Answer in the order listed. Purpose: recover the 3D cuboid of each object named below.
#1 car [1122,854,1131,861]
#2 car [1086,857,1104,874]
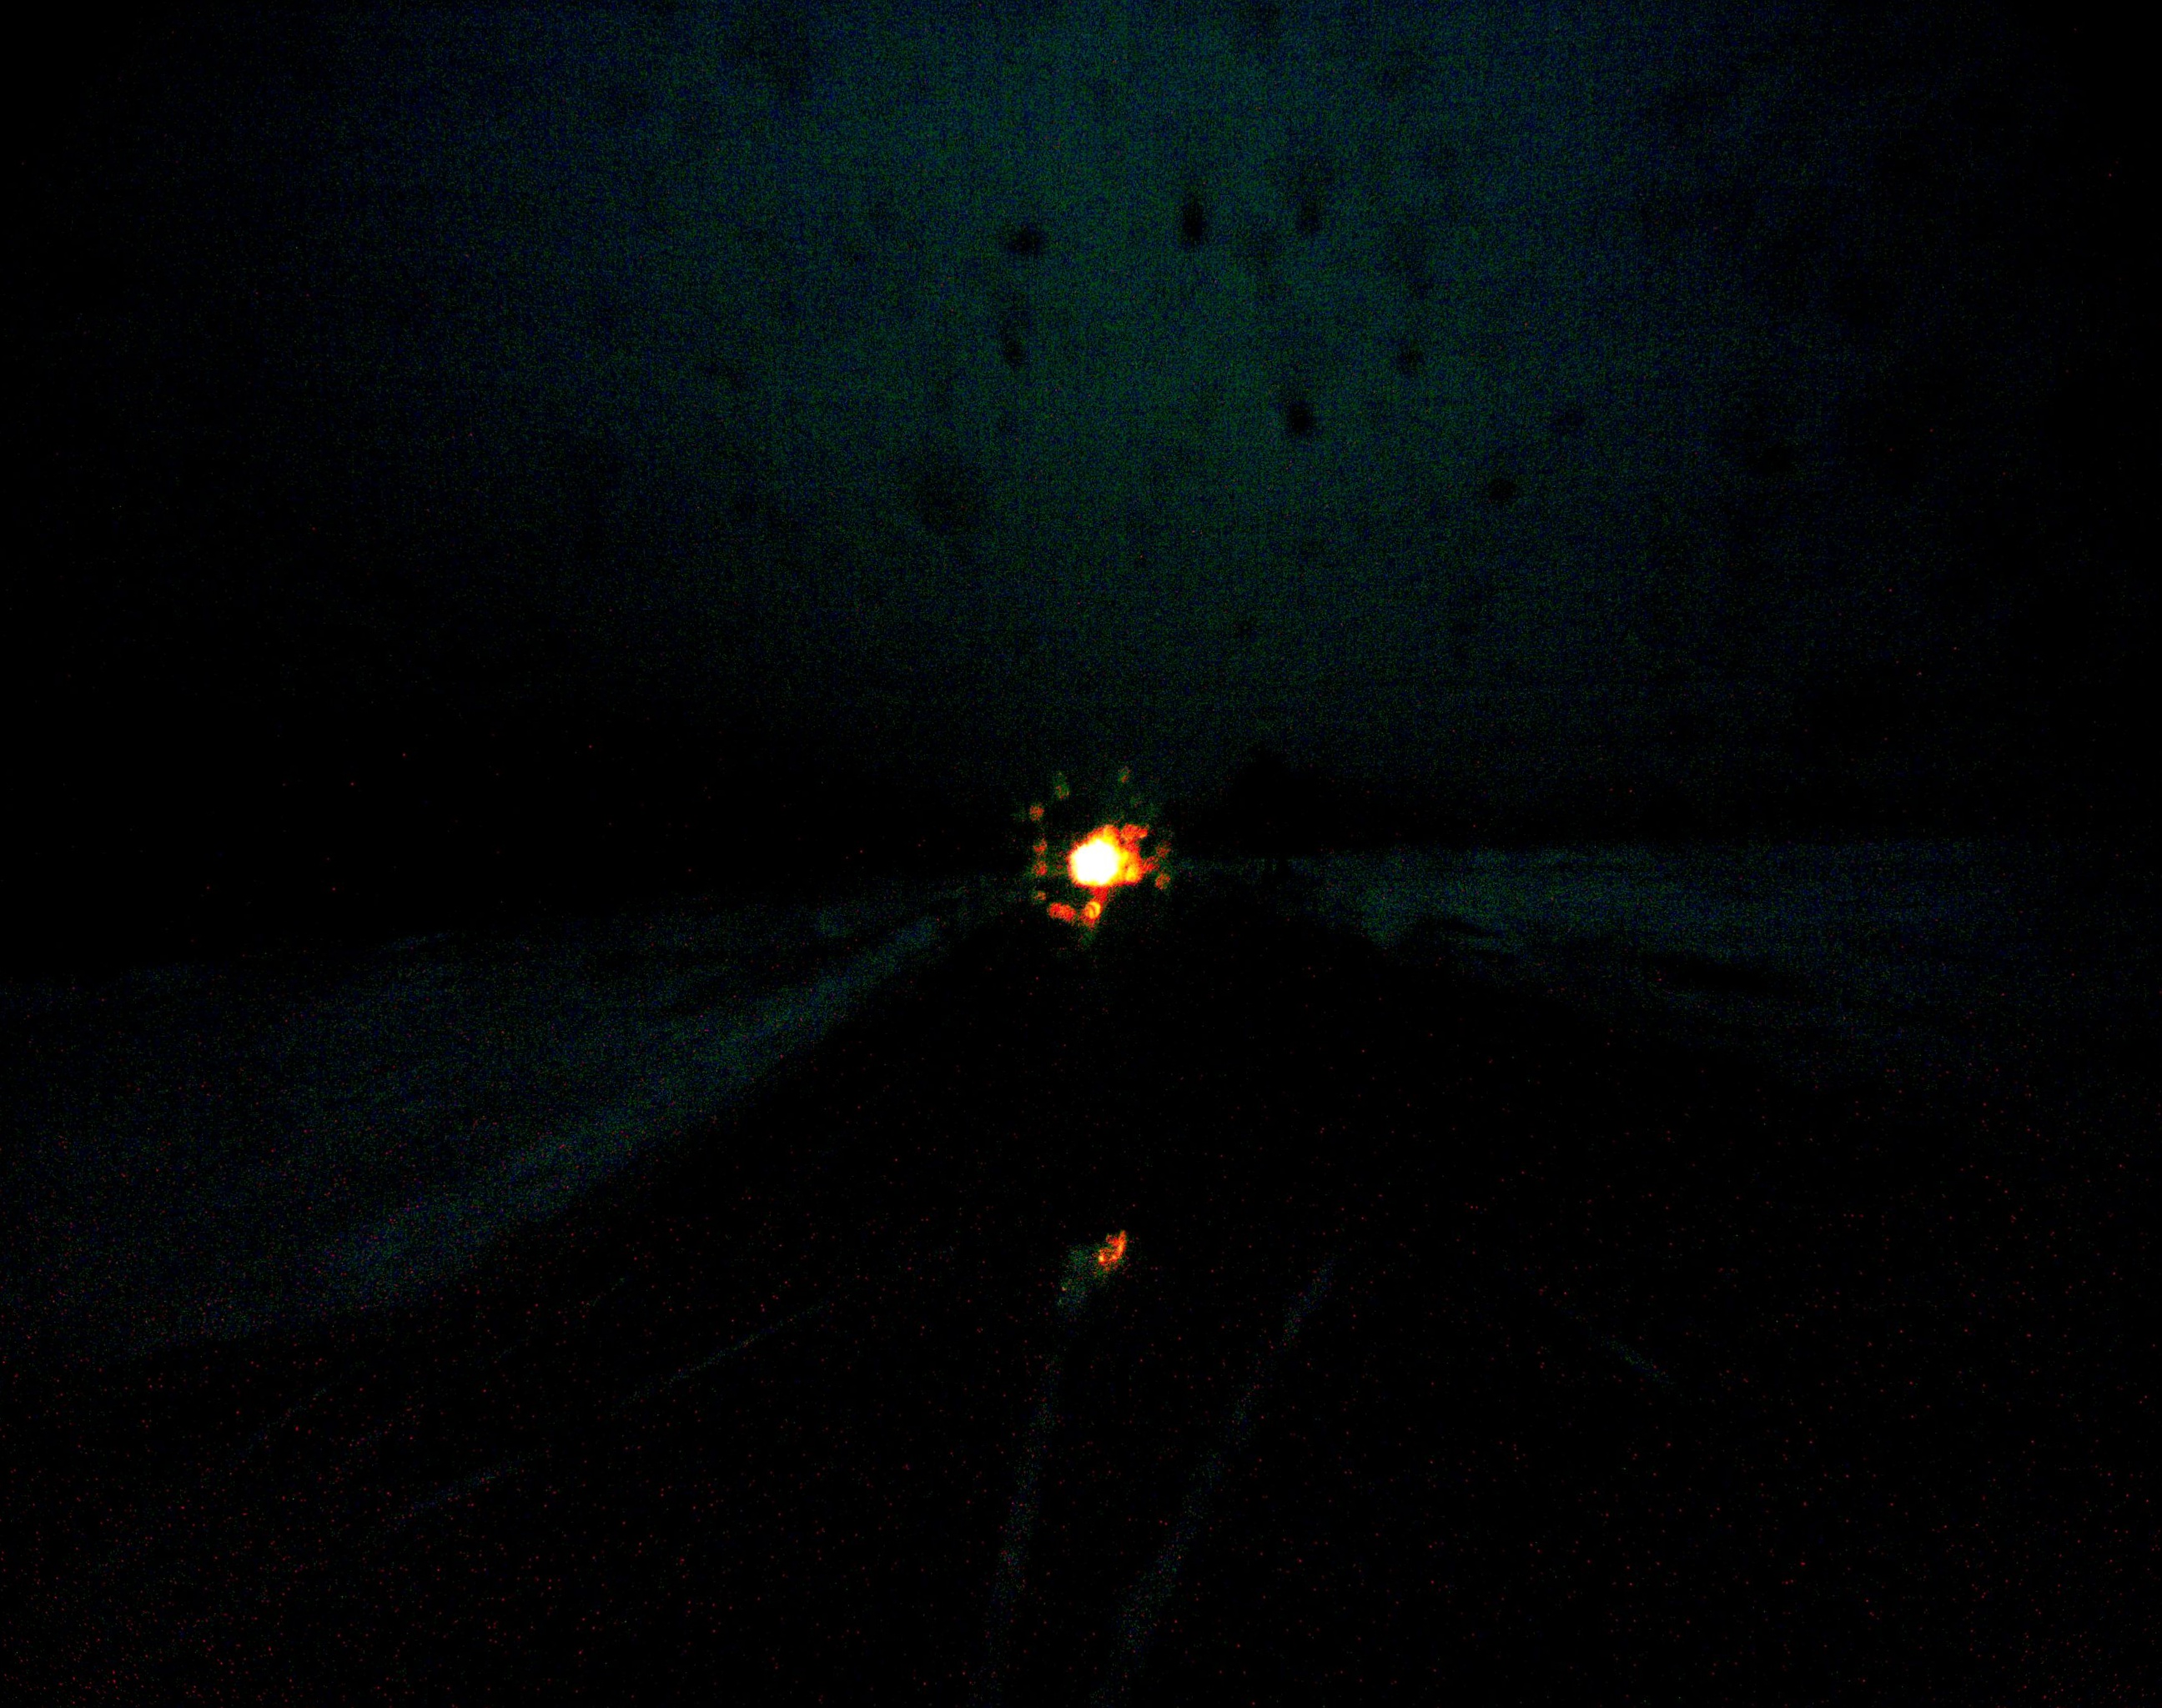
[{"bbox_3d":[9.456,0.759,158.735,1.732,1.338,4.222,0,1,2],"label":"car"},{"bbox_3d":[1.856,1.485,100.111,1.998,2.002,4.001,-4,1,5],"label":"car"}]
